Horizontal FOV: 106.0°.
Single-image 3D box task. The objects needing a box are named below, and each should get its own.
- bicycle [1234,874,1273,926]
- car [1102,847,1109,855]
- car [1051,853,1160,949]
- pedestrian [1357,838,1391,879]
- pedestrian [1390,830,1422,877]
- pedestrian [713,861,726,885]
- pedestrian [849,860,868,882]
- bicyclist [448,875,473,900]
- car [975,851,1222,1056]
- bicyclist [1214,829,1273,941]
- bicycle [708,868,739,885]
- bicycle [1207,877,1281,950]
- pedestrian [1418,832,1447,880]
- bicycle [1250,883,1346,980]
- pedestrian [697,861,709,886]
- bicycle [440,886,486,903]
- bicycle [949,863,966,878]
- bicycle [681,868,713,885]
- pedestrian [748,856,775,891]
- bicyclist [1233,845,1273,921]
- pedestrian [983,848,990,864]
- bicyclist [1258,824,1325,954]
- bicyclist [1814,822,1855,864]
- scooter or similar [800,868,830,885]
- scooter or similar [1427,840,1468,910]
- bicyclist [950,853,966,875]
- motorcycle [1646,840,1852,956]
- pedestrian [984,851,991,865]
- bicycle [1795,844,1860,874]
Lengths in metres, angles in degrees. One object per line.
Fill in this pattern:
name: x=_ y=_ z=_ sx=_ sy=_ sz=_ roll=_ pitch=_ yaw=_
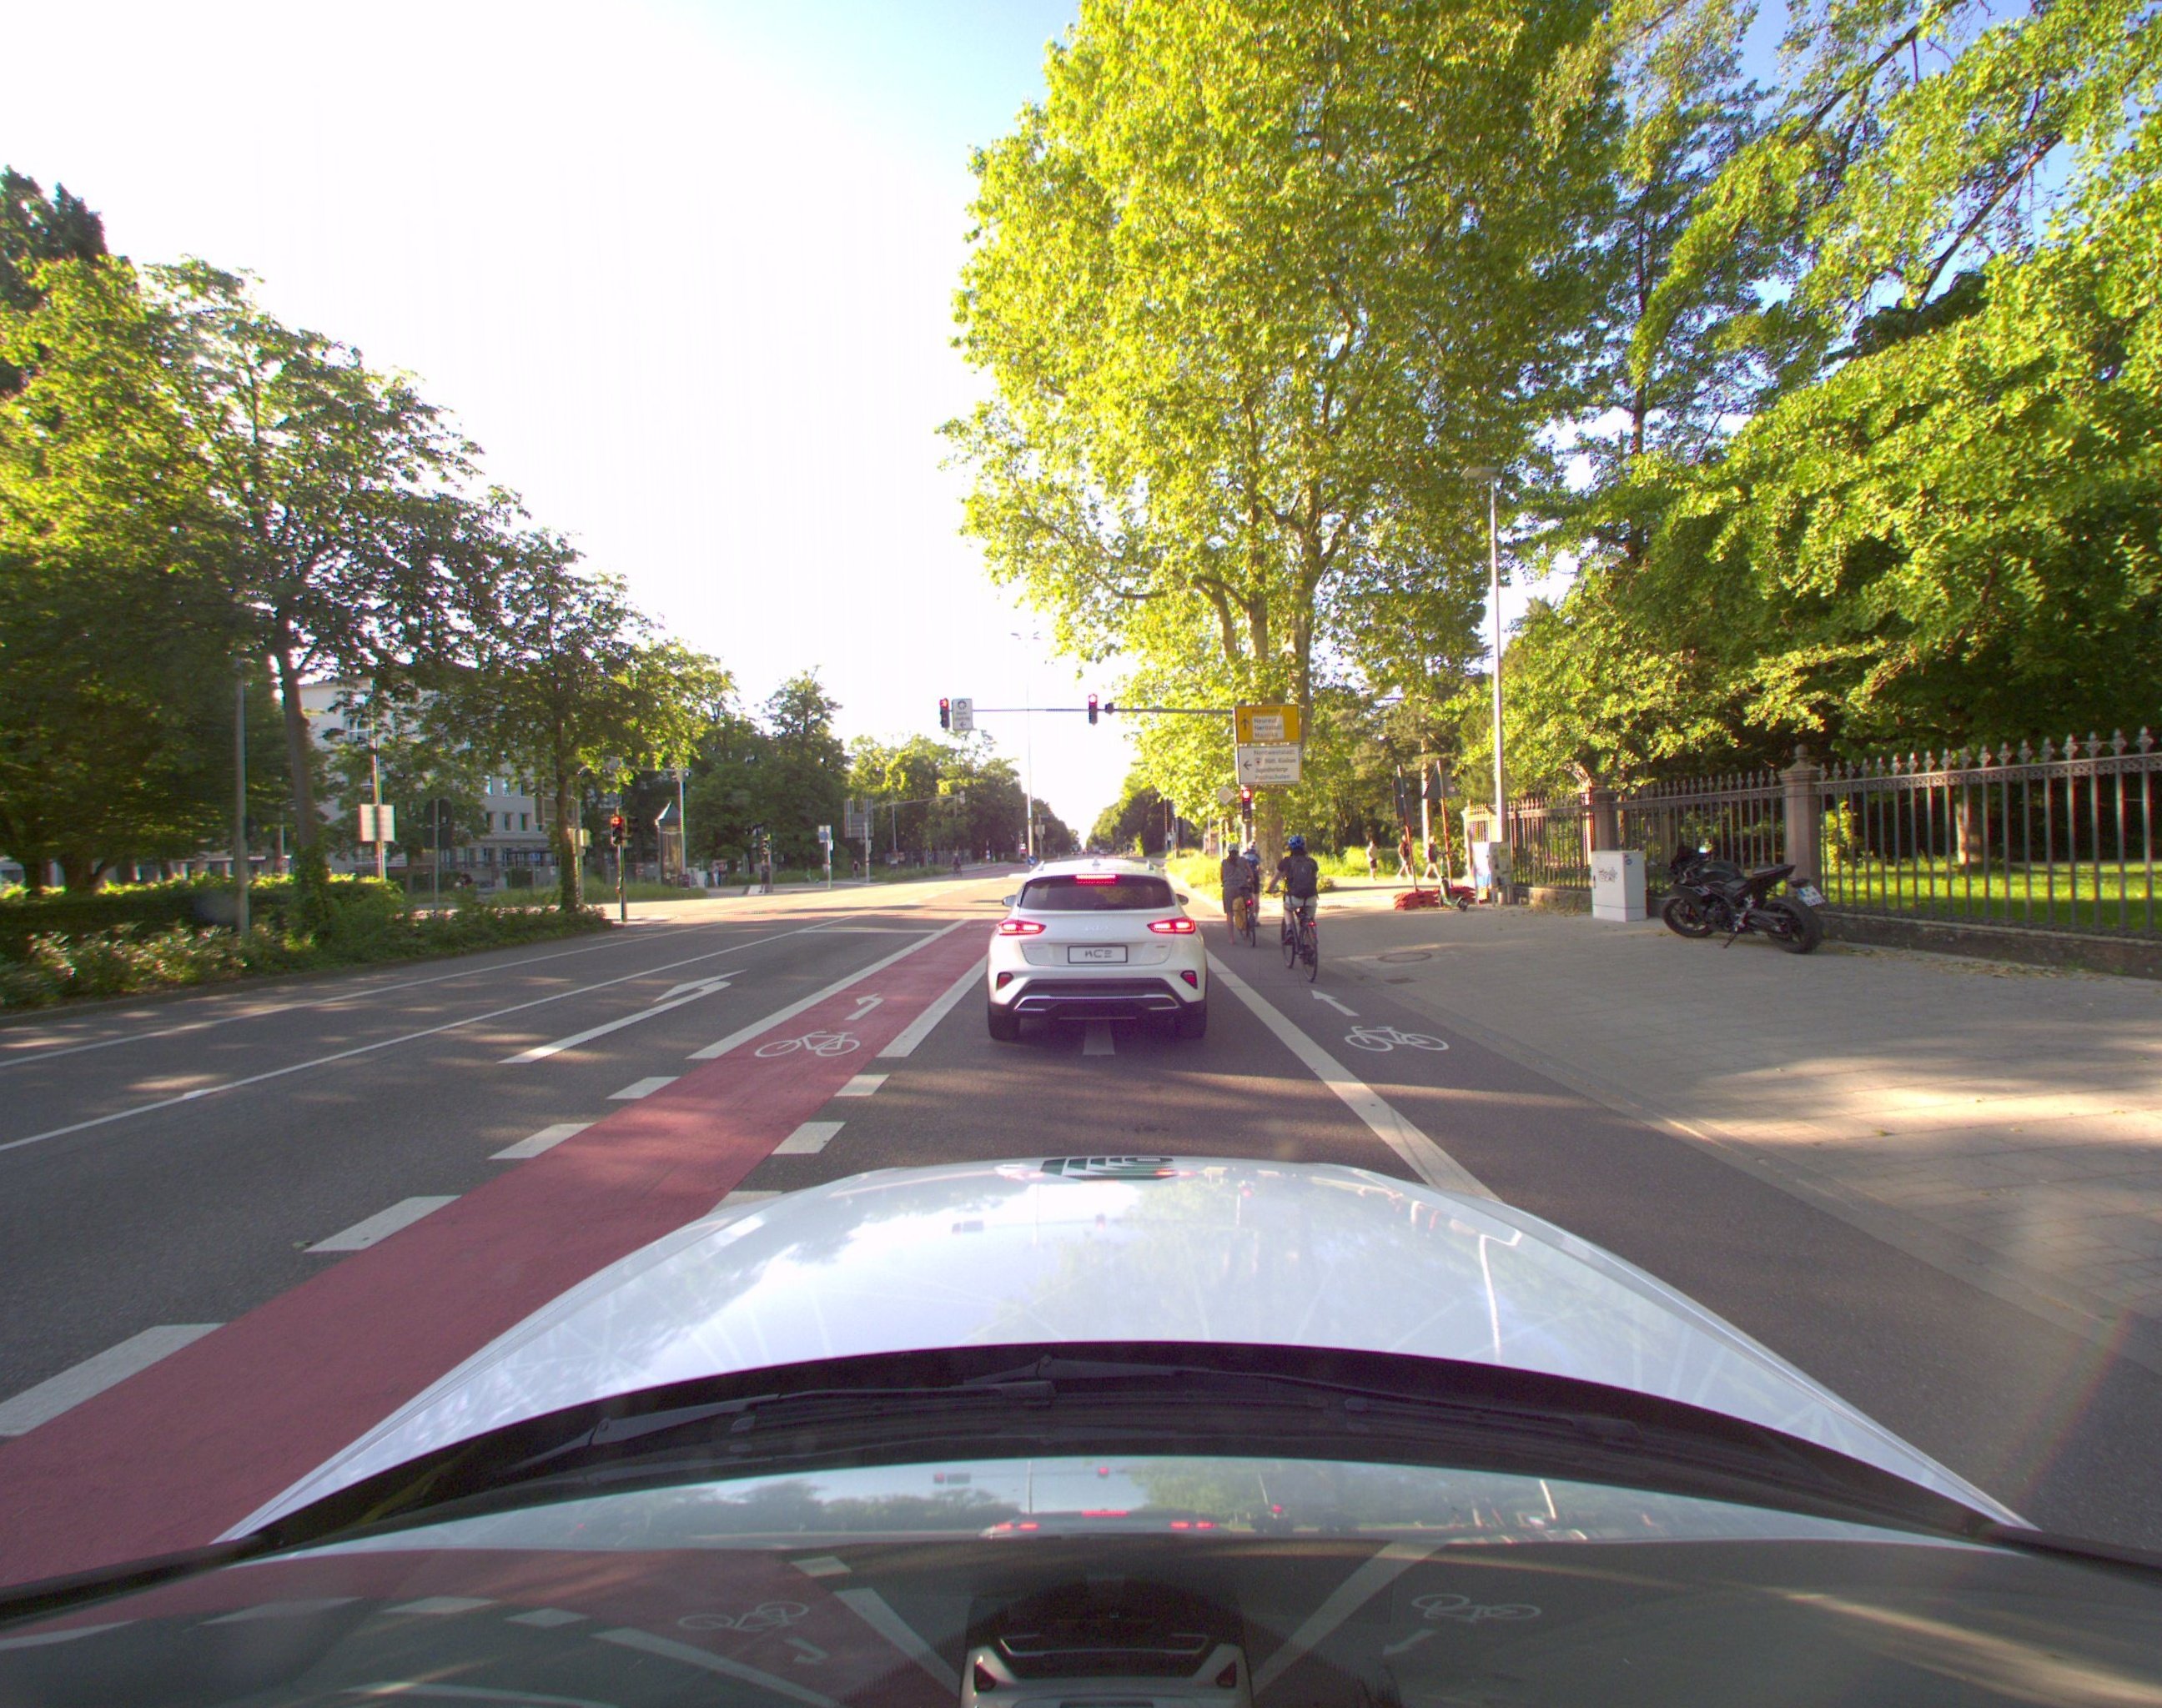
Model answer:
bicycle: x=3.503 y=0.910 z=16.599 sx=0.400 sy=0.956 sz=1.551 roll=-5 pitch=0 yaw=0
car: x=6.547 y=-0.759 z=218.130 sx=1.986 sy=2.013 sz=4.002 roll=-3 pitch=0 yaw=2
car: x=0.402 y=0.773 z=15.090 sx=1.723 sy=1.483 sz=3.516 roll=-3 pitch=0 yaw=0
pedestrian: x=11.202 y=0.171 z=31.165 sx=0.821 sy=1.518 sz=0.910 roll=-1 pitch=-1 yaw=-20
pedestrian: x=12.581 y=-0.021 z=31.542 sx=0.816 sy=1.771 sz=0.831 roll=-3 pitch=0 yaw=-5
pedestrian: x=-24.109 y=1.293 z=54.324 sx=0.628 sy=1.580 sz=0.444 roll=-1 pitch=-1 yaw=-8
pedestrian: x=-16.514 y=1.263 z=60.397 sx=1.086 sy=1.603 sz=0.999 roll=-3 pitch=0 yaw=-5
bicyclist: x=-42.097 y=2.286 z=55.273 sx=0.970 sy=1.606 sz=0.878 roll=-3 pitch=0 yaw=2
car: x=0.148 y=0.731 z=8.059 sx=1.815 sy=1.480 sz=3.936 roll=-1 pitch=0 yaw=0
bicyclist: x=2.686 y=0.493 z=13.577 sx=0.750 sy=1.795 sz=1.165 roll=0 pitch=0 yaw=0
bicycle: x=-24.035 y=1.519 z=54.727 sx=1.859 sy=1.148 sz=0.290 roll=-1 pitch=-1 yaw=-6
bicycle: x=2.688 y=0.944 z=13.706 sx=0.755 sy=1.013 sz=2.569 roll=0 pitch=0 yaw=0
pedestrian: x=12.790 y=0.057 z=29.637 sx=0.688 sy=1.699 sz=0.643 roll=-3 pitch=0 yaw=-5
bicycle: x=2.693 y=0.917 z=10.326 sx=0.666 sy=1.009 sz=2.081 roll=-1 pitch=0 yaw=0
pedestrian: x=-25.465 y=1.287 z=54.825 sx=0.628 sy=1.642 sz=0.444 roll=-1 pitch=-1 yaw=-8
bicycle: x=-41.932 y=2.775 z=55.270 sx=2.695 sy=0.989 sz=0.581 roll=-3 pitch=0 yaw=2
bicycle: x=-9.276 y=1.235 z=61.180 sx=0.660 sy=0.989 sz=2.507 roll=-3 pitch=0 yaw=4
bicycle: x=-25.943 y=1.523 z=55.035 sx=1.859 sy=1.148 sz=0.442 roll=-1 pitch=-1 yaw=-6
pedestrian: x=-18.726 y=1.157 z=47.783 sx=0.990 sy=2.014 sz=1.193 roll=-1 pitch=-1 yaw=7
bicyclist: x=3.492 y=0.573 z=16.585 sx=0.552 sy=1.478 sz=0.717 roll=-5 pitch=-1 yaw=0
pedestrian: x=-12.256 y=0.260 z=105.152 sx=0.636 sy=2.014 sz=0.756 roll=-1 pitch=-1 yaw=16
bicyclist: x=2.688 y=0.430 z=10.446 sx=0.663 sy=1.602 sz=0.721 roll=-1 pitch=0 yaw=0
bicyclist: x=25.844 y=-0.371 z=27.927 sx=0.776 sy=1.431 sz=0.668 roll=-1 pitch=-1 yaw=13
scooter or similar: x=-18.645 y=1.586 z=57.118 sx=0.703 sy=1.124 sz=1.933 roll=-1 pitch=0 yaw=34
scooter or similar: x=7.231 y=0.400 z=16.099 sx=0.227 sy=1.327 sz=1.172 roll=-3 pitch=0 yaw=0
bicyclist: x=-9.287 y=0.741 z=61.320 sx=0.871 sy=1.608 sz=1.189 roll=-3 pitch=0 yaw=4
motorcycle: x=7.459 y=0.447 z=9.261 sx=0.504 sy=1.131 sz=2.170 roll=-4 pitch=0 yaw=0
pedestrian: x=-11.884 y=0.497 z=103.538 sx=0.782 sy=1.785 sz=0.751 roll=-1 pitch=-1 yaw=2
bicycle: x=25.650 y=0.169 z=27.989 sx=1.605 sy=1.015 sz=0.476 roll=-1 pitch=-1 yaw=12
